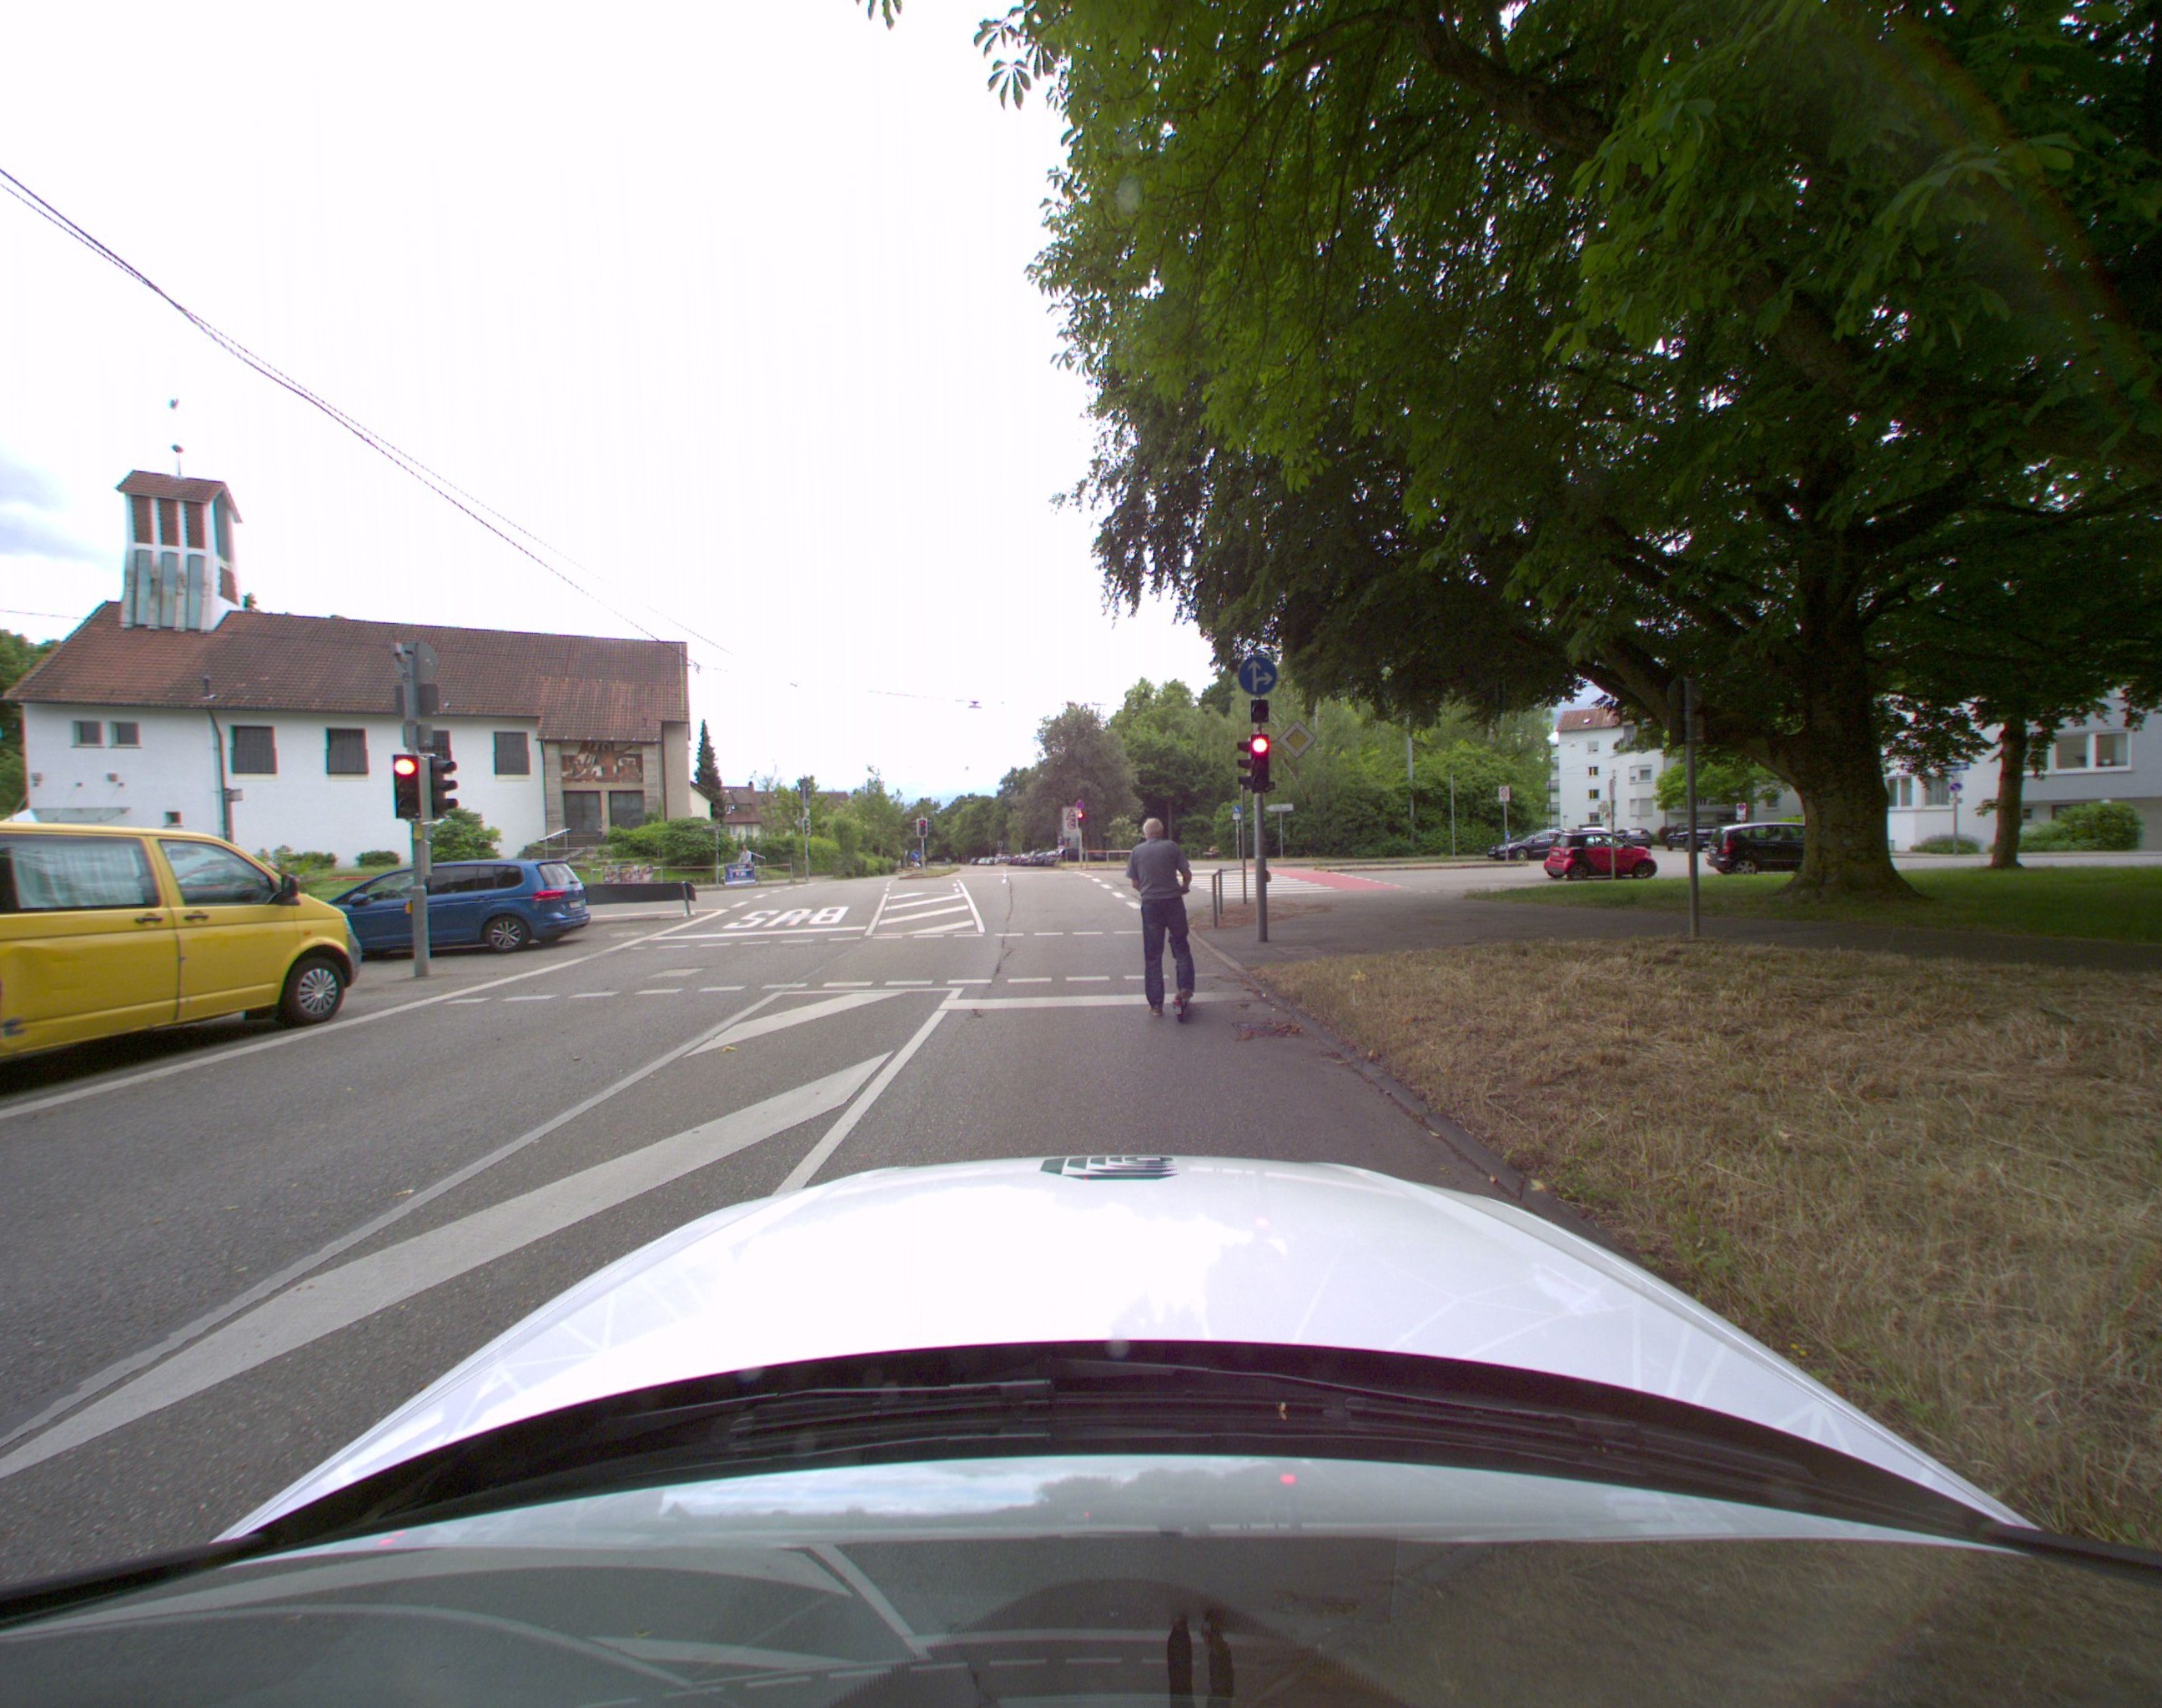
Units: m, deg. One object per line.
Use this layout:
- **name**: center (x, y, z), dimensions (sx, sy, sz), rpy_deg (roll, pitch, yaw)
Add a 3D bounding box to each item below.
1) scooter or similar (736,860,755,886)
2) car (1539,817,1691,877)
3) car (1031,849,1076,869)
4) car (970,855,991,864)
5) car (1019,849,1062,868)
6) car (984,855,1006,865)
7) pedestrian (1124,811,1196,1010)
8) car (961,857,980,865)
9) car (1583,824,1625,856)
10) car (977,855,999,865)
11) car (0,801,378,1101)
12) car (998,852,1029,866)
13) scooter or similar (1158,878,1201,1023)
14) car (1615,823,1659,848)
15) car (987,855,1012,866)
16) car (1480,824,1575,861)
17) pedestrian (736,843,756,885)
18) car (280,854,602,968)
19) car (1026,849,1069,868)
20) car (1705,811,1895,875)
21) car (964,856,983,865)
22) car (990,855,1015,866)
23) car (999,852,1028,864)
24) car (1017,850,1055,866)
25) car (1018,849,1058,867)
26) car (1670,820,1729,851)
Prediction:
- **scooter or similar**: center (-14.858, 0.841, 36.061), dimensions (0.576, 1.081, 1.106), rpy_deg (-2, 0, -13)
- **car**: center (16.524, -0.211, 25.354), dimensions (3.499, 1.610, 1.732), rpy_deg (-3, 0, 7)
- **car**: center (-2.595, 0.460, 77.001), dimensions (3.857, 1.610, 1.715), rpy_deg (-3, 1, -22)
- **car**: center (-20.509, 1.150, 166.573), dimensions (3.856, 1.610, 1.716), rpy_deg (-3, 0, -21)
- **car**: center (-4.053, 0.446, 81.616), dimensions (3.856, 1.610, 1.716), rpy_deg (-3, 0, -21)
- **car**: center (-16.354, 1.168, 154.695), dimensions (3.856, 1.610, 1.716), rpy_deg (-3, 0, -21)
- **pedestrian**: center (0.754, 0.520, 7.670), dimensions (0.569, 1.813, 0.421), rpy_deg (-2, 0, 10)
- **car**: center (-24.242, 1.535, 178.800), dimensions (3.856, 1.610, 1.716), rpy_deg (-3, 0, -21)
- **car**: center (28.783, -0.793, 44.890), dimensions (1.706, 1.610, 3.878), rpy_deg (-3, 1, 30)
- **car**: center (-18.158, 1.137, 159.445), dimensions (3.856, 1.610, 1.716), rpy_deg (-3, 0, -21)
- **car**: center (-8.300, 0.683, 6.334), dimensions (1.880, 2.013, 4.558), rpy_deg (-2, 0, -5)
- **car**: center (-9.057, 0.679, 109.344), dimensions (3.856, 1.610, 1.716), rpy_deg (-3, 0, -21)
- **scooter or similar**: center (0.918, 0.840, 7.489), dimensions (0.280, 1.178, 1.180), rpy_deg (-2, 0, 10)
- **car**: center (38.952, -1.282, 57.135), dimensions (1.707, 1.610, 3.875), rpy_deg (-3, 1, 22)
- **car**: center (-14.337, 1.140, 143.333), dimensions (3.856, 1.610, 1.716), rpy_deg (-3, 0, -21)
- **car**: center (21.109, -0.564, 38.598), dimensions (3.498, 1.530, 1.732), rpy_deg (-3, 0, 8)
- **pedestrian**: center (-15.187, 0.465, 36.958), dimensions (0.577, 1.862, 0.877), rpy_deg (-2, 0, -37)
- **car**: center (-11.065, 0.916, 14.420), dimensions (3.992, 1.610, 1.810), rpy_deg (-3, 0, -14)
- **car**: center (-3.282, 0.470, 79.561), dimensions (3.856, 1.610, 1.716), rpy_deg (-3, 0, -21)
- **car**: center (20.830, -0.300, 23.797), dimensions (3.805, 1.610, 1.739), rpy_deg (-3, 1, 27)
- **car**: center (-23.328, 1.444, 176.439), dimensions (3.856, 1.610, 1.716), rpy_deg (-3, 0, -21)
- **car**: center (-13.398, 1.131, 139.633), dimensions (3.856, 1.610, 1.716), rpy_deg (-3, 0, -21)
- **car**: center (-10.131, 0.631, 122.348), dimensions (3.856, 1.610, 1.716), rpy_deg (-3, 0, -21)
- **car**: center (-4.937, 0.429, 89.369), dimensions (3.856, 1.610, 1.716), rpy_deg (-3, 0, -21)
- **car**: center (-4.604, 0.423, 86.947), dimensions (3.856, 1.610, 1.716), rpy_deg (-3, 0, -21)
- **car**: center (35.566, -1.074, 46.924), dimensions (1.707, 1.610, 3.875), rpy_deg (-3, 1, 22)
